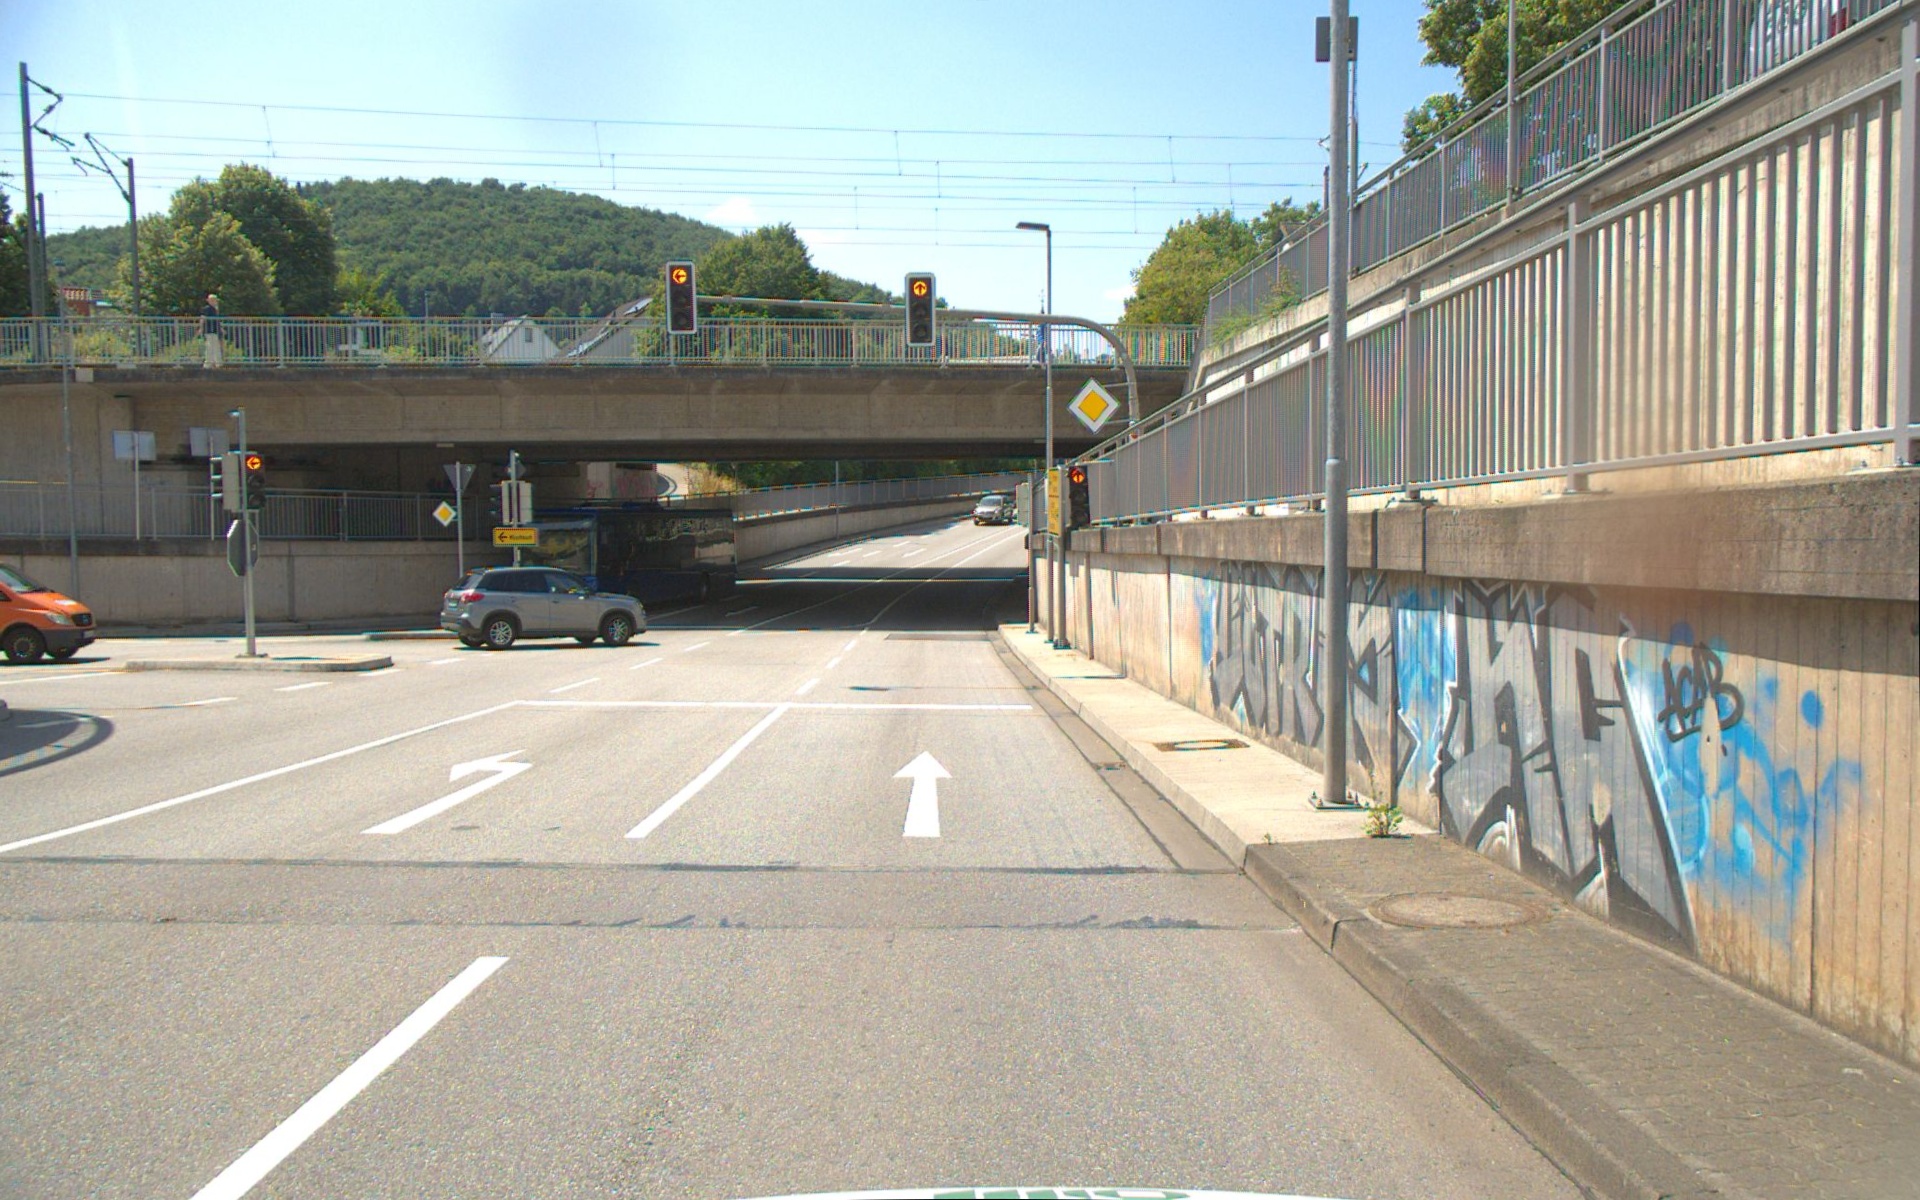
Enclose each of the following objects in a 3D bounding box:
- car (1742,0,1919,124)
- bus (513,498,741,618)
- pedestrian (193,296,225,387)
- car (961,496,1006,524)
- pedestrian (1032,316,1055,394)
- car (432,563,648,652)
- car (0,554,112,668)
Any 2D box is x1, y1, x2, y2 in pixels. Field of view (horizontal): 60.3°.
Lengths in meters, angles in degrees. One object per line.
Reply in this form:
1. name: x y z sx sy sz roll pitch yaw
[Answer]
1. car: 9.463 -5.319 14.994 3.904 1.512 1.770 0 1 2
2. bus: -9.833 -1.464 50.891 2.526 3.227 12.391 1 3 10
3. pedestrian: -18.316 -6.293 40.336 0.566 2.117 0.533 -1 1 -12
4. car: 1.454 -5.497 100.889 1.951 1.655 4.005 1 3 13
5. pedestrian: 2.322 -6.841 46.211 0.529 2.117 0.534 -1 1 -8
6. car: -8.583 0.097 33.909 3.951 1.646 1.790 -1 3 -34
7. car: -18.210 0.181 30.008 4.619 1.965 1.874 0 3 -11
